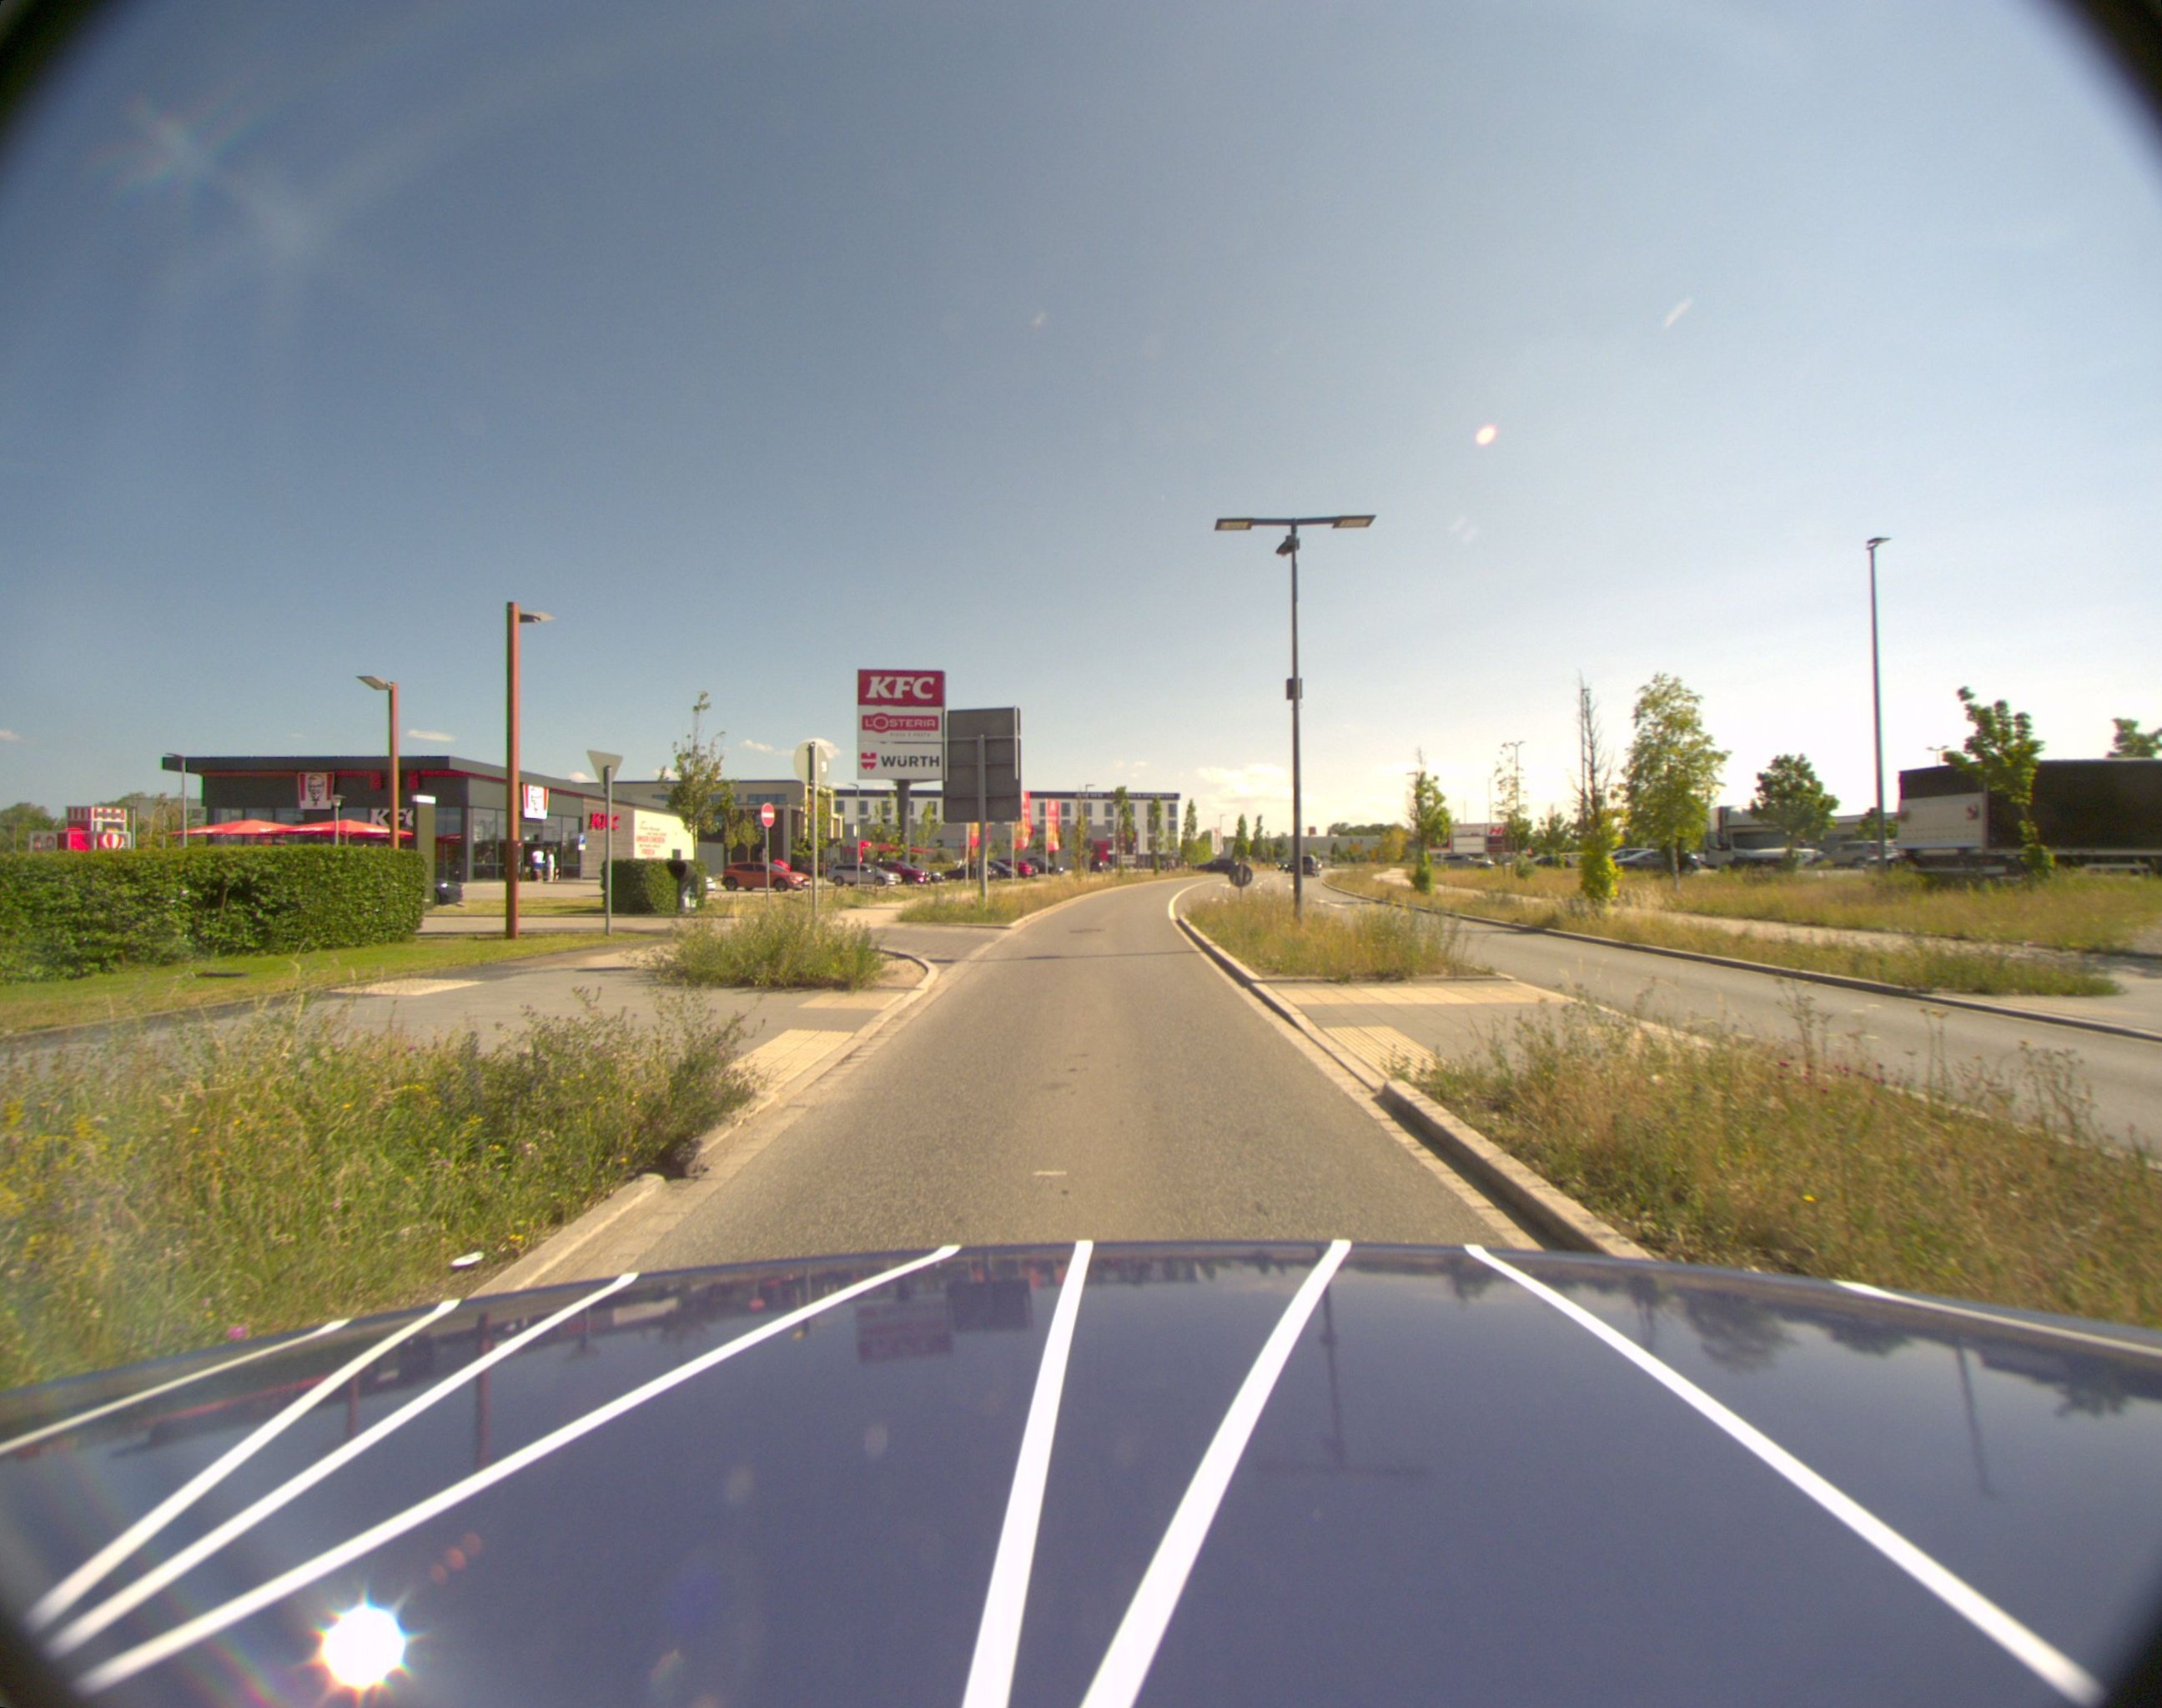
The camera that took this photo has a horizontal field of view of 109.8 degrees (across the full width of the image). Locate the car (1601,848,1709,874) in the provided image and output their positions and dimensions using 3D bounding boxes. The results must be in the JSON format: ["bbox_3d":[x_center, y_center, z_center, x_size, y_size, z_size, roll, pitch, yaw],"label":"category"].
[{"bbox_3d":[31.886,0.405,42.357,4.429,1.375,1.978,-1,0,17],"label":"car"}]

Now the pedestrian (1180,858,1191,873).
[{"bbox_3d":[10.330,1.106,75.137,0.793,1.461,0.950,-1,0,23],"label":"pedestrian"}]

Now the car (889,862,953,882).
[{"bbox_3d":[-11.629,1.293,55.311,4.160,1.440,1.793,0,0,10],"label":"car"}]

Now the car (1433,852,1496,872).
[{"bbox_3d":[33.438,0.742,66.321,4.765,1.633,2.120,-2,-2,26],"label":"car"}]

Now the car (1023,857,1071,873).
[{"bbox_3d":[-3.403,1.117,76.291,4.411,1.557,1.998,0,0,18],"label":"car"}]

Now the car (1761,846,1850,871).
[{"bbox_3d":[47.730,0.298,50.195,1.836,1.503,4.383,-1,0,3],"label":"car"}]

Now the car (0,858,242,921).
[{"bbox_3d":[-26.309,0.900,20.944,1.786,1.570,4.178,0,0,45],"label":"car"}]

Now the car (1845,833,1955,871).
[{"bbox_3d":[47.431,-0.102,44.143,1.836,2.052,4.383,-1,0,3],"label":"car"}]

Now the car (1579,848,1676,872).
[{"bbox_3d":[33.911,0.375,47.277,4.581,1.450,1.840,-1,0,17],"label":"car"}]

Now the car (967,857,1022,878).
[{"bbox_3d":[-7.604,1.170,66.849,4.410,1.724,1.794,0,0,20],"label":"car"}]

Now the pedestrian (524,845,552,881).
[{"bbox_3d":[-31.042,0.518,43.446,0.915,2.002,0.891,0,0,5],"label":"pedestrian"}]

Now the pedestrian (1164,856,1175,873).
[{"bbox_3d":[8.791,1.035,75.543,0.809,1.618,0.867,-1,0,23],"label":"pedestrian"}]

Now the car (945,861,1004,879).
[{"bbox_3d":[-8.686,1.298,62.163,4.410,1.440,1.794,0,0,19],"label":"car"}]

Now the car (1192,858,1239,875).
[{"bbox_3d":[13.689,1.288,77.567,4.463,1.669,1.902,-1,-2,-1],"label":"car"}]

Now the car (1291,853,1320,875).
[{"bbox_3d":[18.962,0.844,63.971,1.953,1.784,4.434,1,0,21],"label":"car"}]

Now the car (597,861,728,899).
[{"bbox_3d":[-17.140,1.044,31.212,4.533,1.481,1.870,0,0,9],"label":"car"}]

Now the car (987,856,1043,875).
[{"bbox_3d":[-6.336,1.075,73.091,4.987,1.724,1.942,0,0,18],"label":"car"}]

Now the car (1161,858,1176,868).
[{"bbox_3d":[12.733,1.333,110.780,1.515,1.399,4.006,0,-1,17],"label":"car"}]

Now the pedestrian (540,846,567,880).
[{"bbox_3d":[-31.059,0.528,44.712,0.915,2.002,0.891,0,0,5],"label":"pedestrian"}]

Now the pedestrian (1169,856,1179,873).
[{"bbox_3d":[9.108,1.031,74.552,0.801,1.620,0.806,-1,0,23],"label":"pedestrian"}]

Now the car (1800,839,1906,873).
[{"bbox_3d":[44.477,0.115,43.946,1.836,1.813,4.383,-1,0,3],"label":"car"}]

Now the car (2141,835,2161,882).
[{"bbox_3d":[40.951,0.142,26.501,1.836,1.763,4.382,-1,0,1],"label":"car"}]

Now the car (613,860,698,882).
[{"bbox_3d":[-28.063,1.118,50.170,4.566,1.423,1.869,0,0,1],"label":"car"}]

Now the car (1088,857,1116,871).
[{"bbox_3d":[2.475,1.162,88.345,1.781,1.531,4.176,-1,0,24],"label":"car"}]

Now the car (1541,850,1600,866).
[{"bbox_3d":[59.752,0.534,92.831,5.689,1.953,2.002,0,0,14],"label":"car"}]

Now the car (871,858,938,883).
[{"bbox_3d":[-12.266,1.158,52.777,4.159,1.655,1.871,0,0,16],"label":"car"}]

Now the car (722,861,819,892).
[{"bbox_3d":[-15.733,1.126,38.581,4.212,1.481,1.870,0,0,9],"label":"car"}]

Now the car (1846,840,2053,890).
[{"bbox_3d":[28.385,0.362,24.965,4.376,1.543,1.839,-1,0,6],"label":"car"}]

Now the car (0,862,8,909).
[{"bbox_3d":[-34.200,0.951,21.495,1.786,1.442,4.178,0,0,45],"label":"car"}]

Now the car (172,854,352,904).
[{"bbox_3d":[-27.621,0.819,25.710,4.166,1.625,1.791,0,0,1],"label":"car"}]

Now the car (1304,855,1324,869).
[{"bbox_3d":[29.858,1.075,97.331,1.952,1.716,4.434,1,0,22],"label":"car"}]

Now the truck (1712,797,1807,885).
[{"bbox_3d":[29.605,-0.496,33.402,2.318,3.444,7.510,-1,0,36],"label":"truck"}]

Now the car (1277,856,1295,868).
[{"bbox_3d":[26.829,1.068,99.356,1.783,1.485,4.007,-1,0,24],"label":"car"}]

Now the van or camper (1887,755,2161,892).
[{"bbox_3d":[27.458,-0.781,20.677,7.707,3.448,2.557,-1,0,7],"label":"van or camper"}]

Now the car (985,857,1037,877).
[{"bbox_3d":[-6.400,1.175,69.693,4.410,1.724,1.794,0,0,20],"label":"car"}]

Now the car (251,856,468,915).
[{"bbox_3d":[-19.615,0.795,20.838,1.698,1.453,4.178,0,0,45],"label":"car"}]

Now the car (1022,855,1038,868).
[{"bbox_3d":[-7.284,1.034,108.650,2.048,1.805,4.921,0,-1,-7],"label":"car"}]

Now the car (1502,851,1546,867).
[{"bbox_3d":[51.924,0.634,89.111,4.148,1.850,1.936,0,0,21],"label":"car"}]

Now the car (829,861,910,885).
[{"bbox_3d":[-13.386,1.192,48.203,4.562,1.481,1.871,0,0,13],"label":"car"}]

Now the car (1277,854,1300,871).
[{"bbox_3d":[21.991,0.901,80.316,1.753,1.677,4.389,0,-1,23],"label":"car"}]
